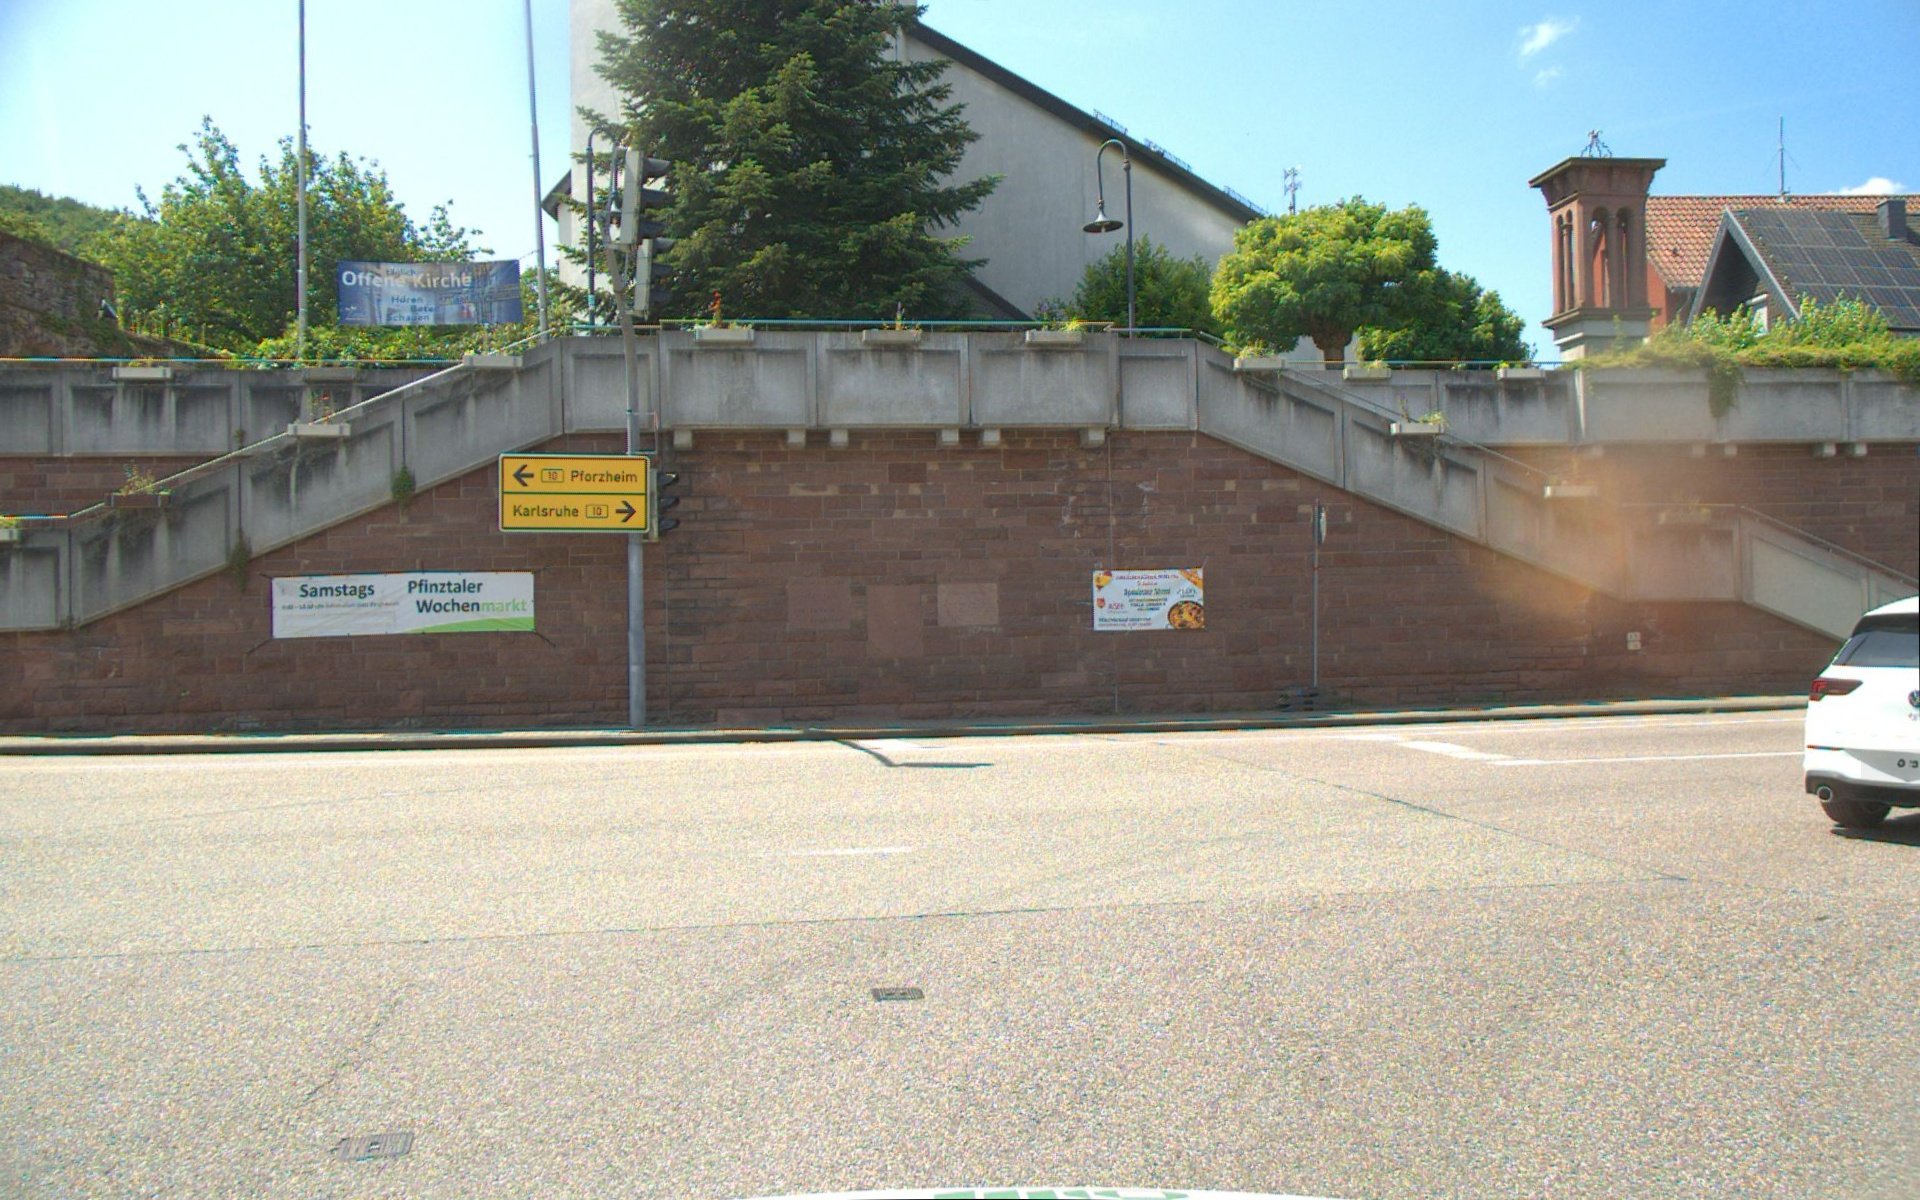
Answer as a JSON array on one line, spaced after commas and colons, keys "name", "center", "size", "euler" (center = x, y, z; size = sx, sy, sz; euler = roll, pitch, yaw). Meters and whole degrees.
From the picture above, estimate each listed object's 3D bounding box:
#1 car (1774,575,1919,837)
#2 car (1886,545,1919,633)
[{"name": "car", "center": [7.041, 0.576, 10.365], "size": [3.814, 1.484, 1.768], "euler": [-1, -1, -33]}, {"name": "car", "center": [25.672, -0.355, 39.305], "size": [5.854, 2.049, 2.524], "euler": [-2, -2, 0]}]
